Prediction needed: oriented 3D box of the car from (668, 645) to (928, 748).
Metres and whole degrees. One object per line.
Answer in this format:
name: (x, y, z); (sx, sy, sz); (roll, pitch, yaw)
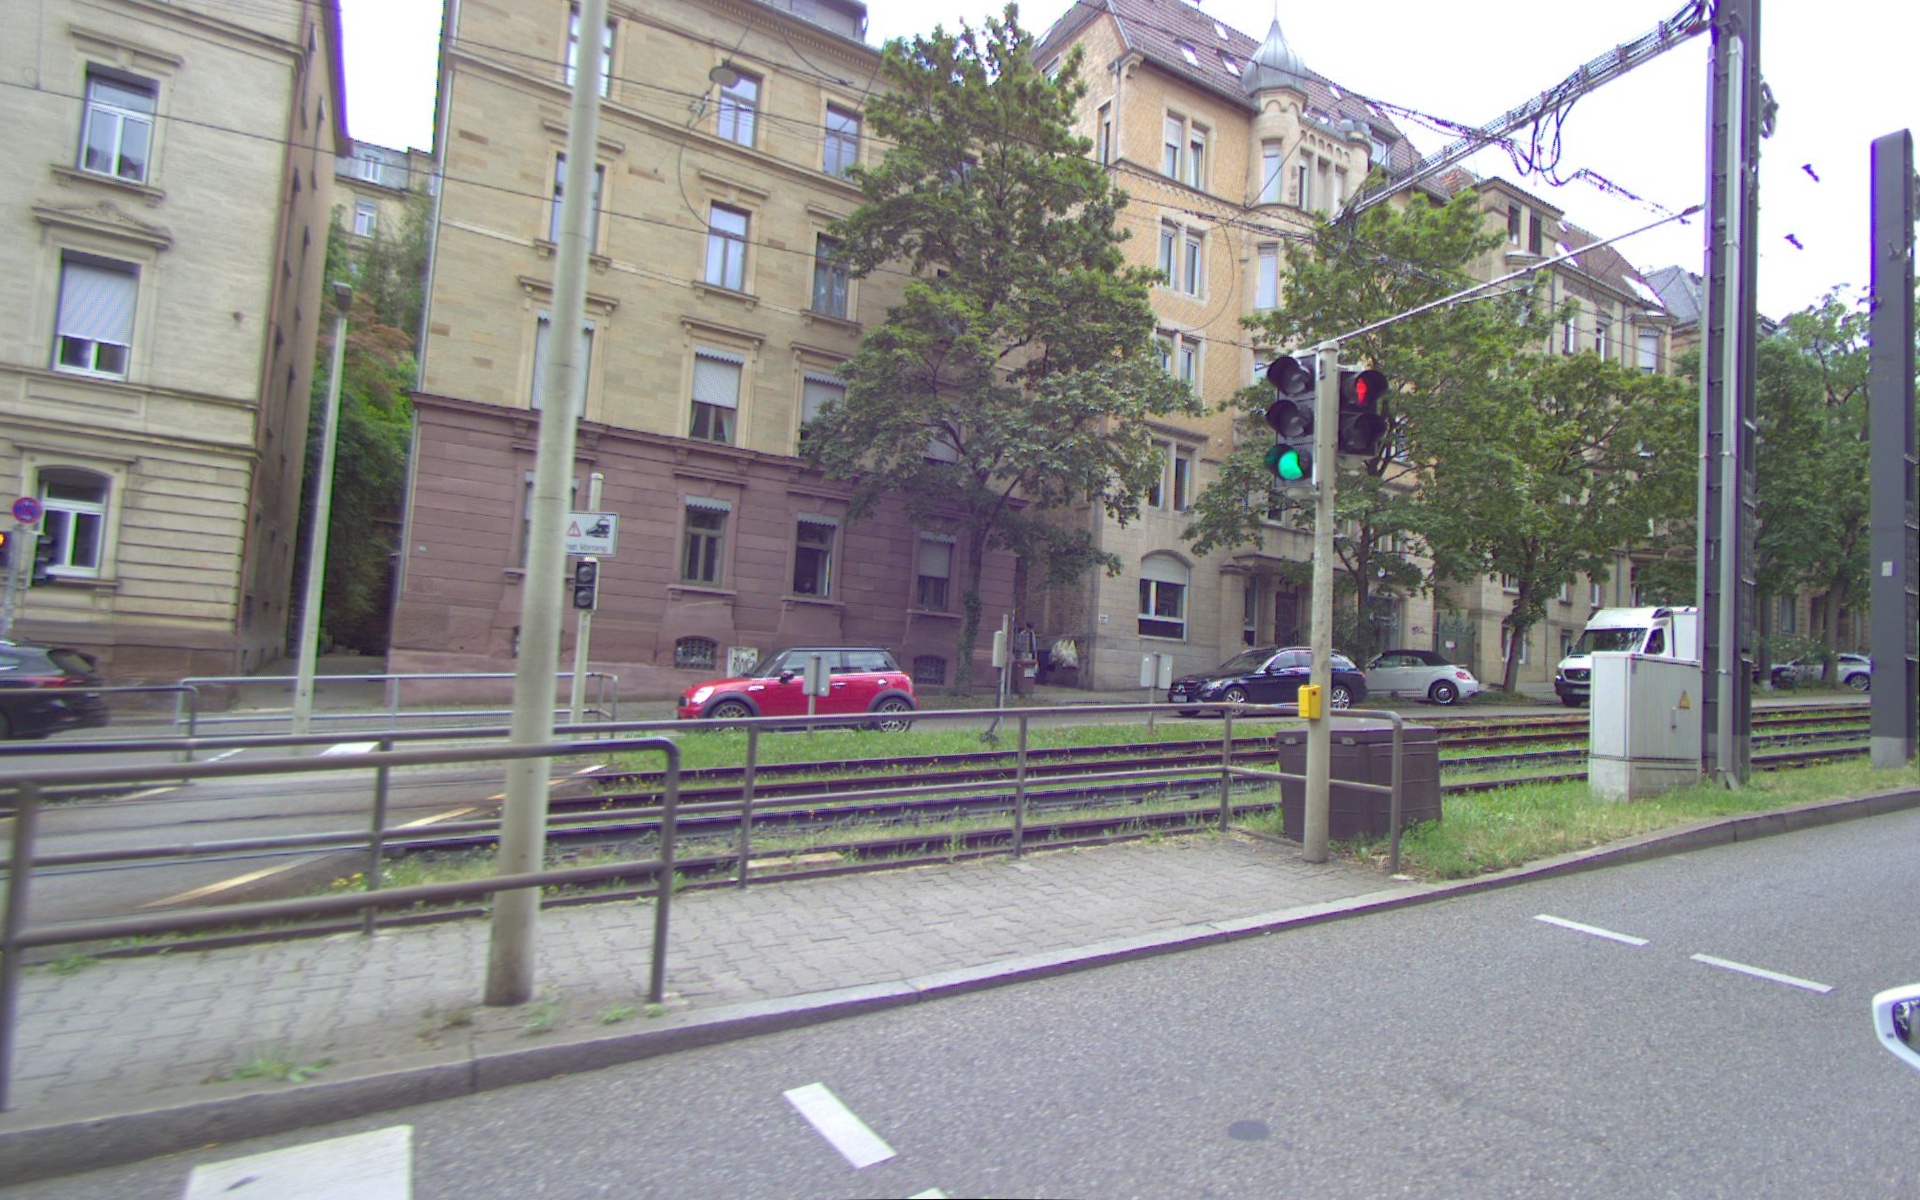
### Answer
car: (-2.447, 1.395, 15.235); (3.606, 1.395, 1.572); (1, -3, -25)

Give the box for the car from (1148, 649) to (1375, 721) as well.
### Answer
car: (6.568, 1.807, 21.869); (4.679, 1.447, 1.746); (1, -4, -22)

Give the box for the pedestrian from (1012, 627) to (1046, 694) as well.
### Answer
pedestrian: (1.946, 1.696, 28.261); (0.624, 1.836, 0.772); (2, -3, -30)

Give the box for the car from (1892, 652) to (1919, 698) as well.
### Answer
car: (37.428, 2.815, 38.048); (4.418, 1.671, 1.872); (2, -4, -30)

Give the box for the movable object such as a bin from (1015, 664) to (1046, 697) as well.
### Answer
movable object such as a bin: (1.873, 2.122, 26.691); (0.621, 0.847, 0.580); (2, -3, -30)

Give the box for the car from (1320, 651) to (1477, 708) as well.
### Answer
car: (12.334, 2.196, 28.308); (3.928, 1.440, 1.783); (-1, -3, 29)

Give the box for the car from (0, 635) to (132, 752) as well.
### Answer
car: (-13.430, 1.185, 12.775); (4.167, 1.466, 1.671); (2, -4, -30)

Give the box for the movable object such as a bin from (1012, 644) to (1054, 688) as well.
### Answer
movable object such as a bin: (2.165, 1.938, 29.765); (0.905, 1.264, 0.889); (1, -3, -27)

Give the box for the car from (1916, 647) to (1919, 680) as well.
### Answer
car: (52.801, 3.347, 52.195); (4.117, 1.790, 1.868); (-1, -3, 31)

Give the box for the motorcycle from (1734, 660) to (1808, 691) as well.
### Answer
motorcycle: (31.737, 2.942, 39.326); (2.164, 1.072, 0.625); (1, -2, 26)

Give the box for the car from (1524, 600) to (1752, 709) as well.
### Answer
car: (18.774, 1.548, 27.769); (6.436, 2.734, 2.384); (2, -4, -28)
